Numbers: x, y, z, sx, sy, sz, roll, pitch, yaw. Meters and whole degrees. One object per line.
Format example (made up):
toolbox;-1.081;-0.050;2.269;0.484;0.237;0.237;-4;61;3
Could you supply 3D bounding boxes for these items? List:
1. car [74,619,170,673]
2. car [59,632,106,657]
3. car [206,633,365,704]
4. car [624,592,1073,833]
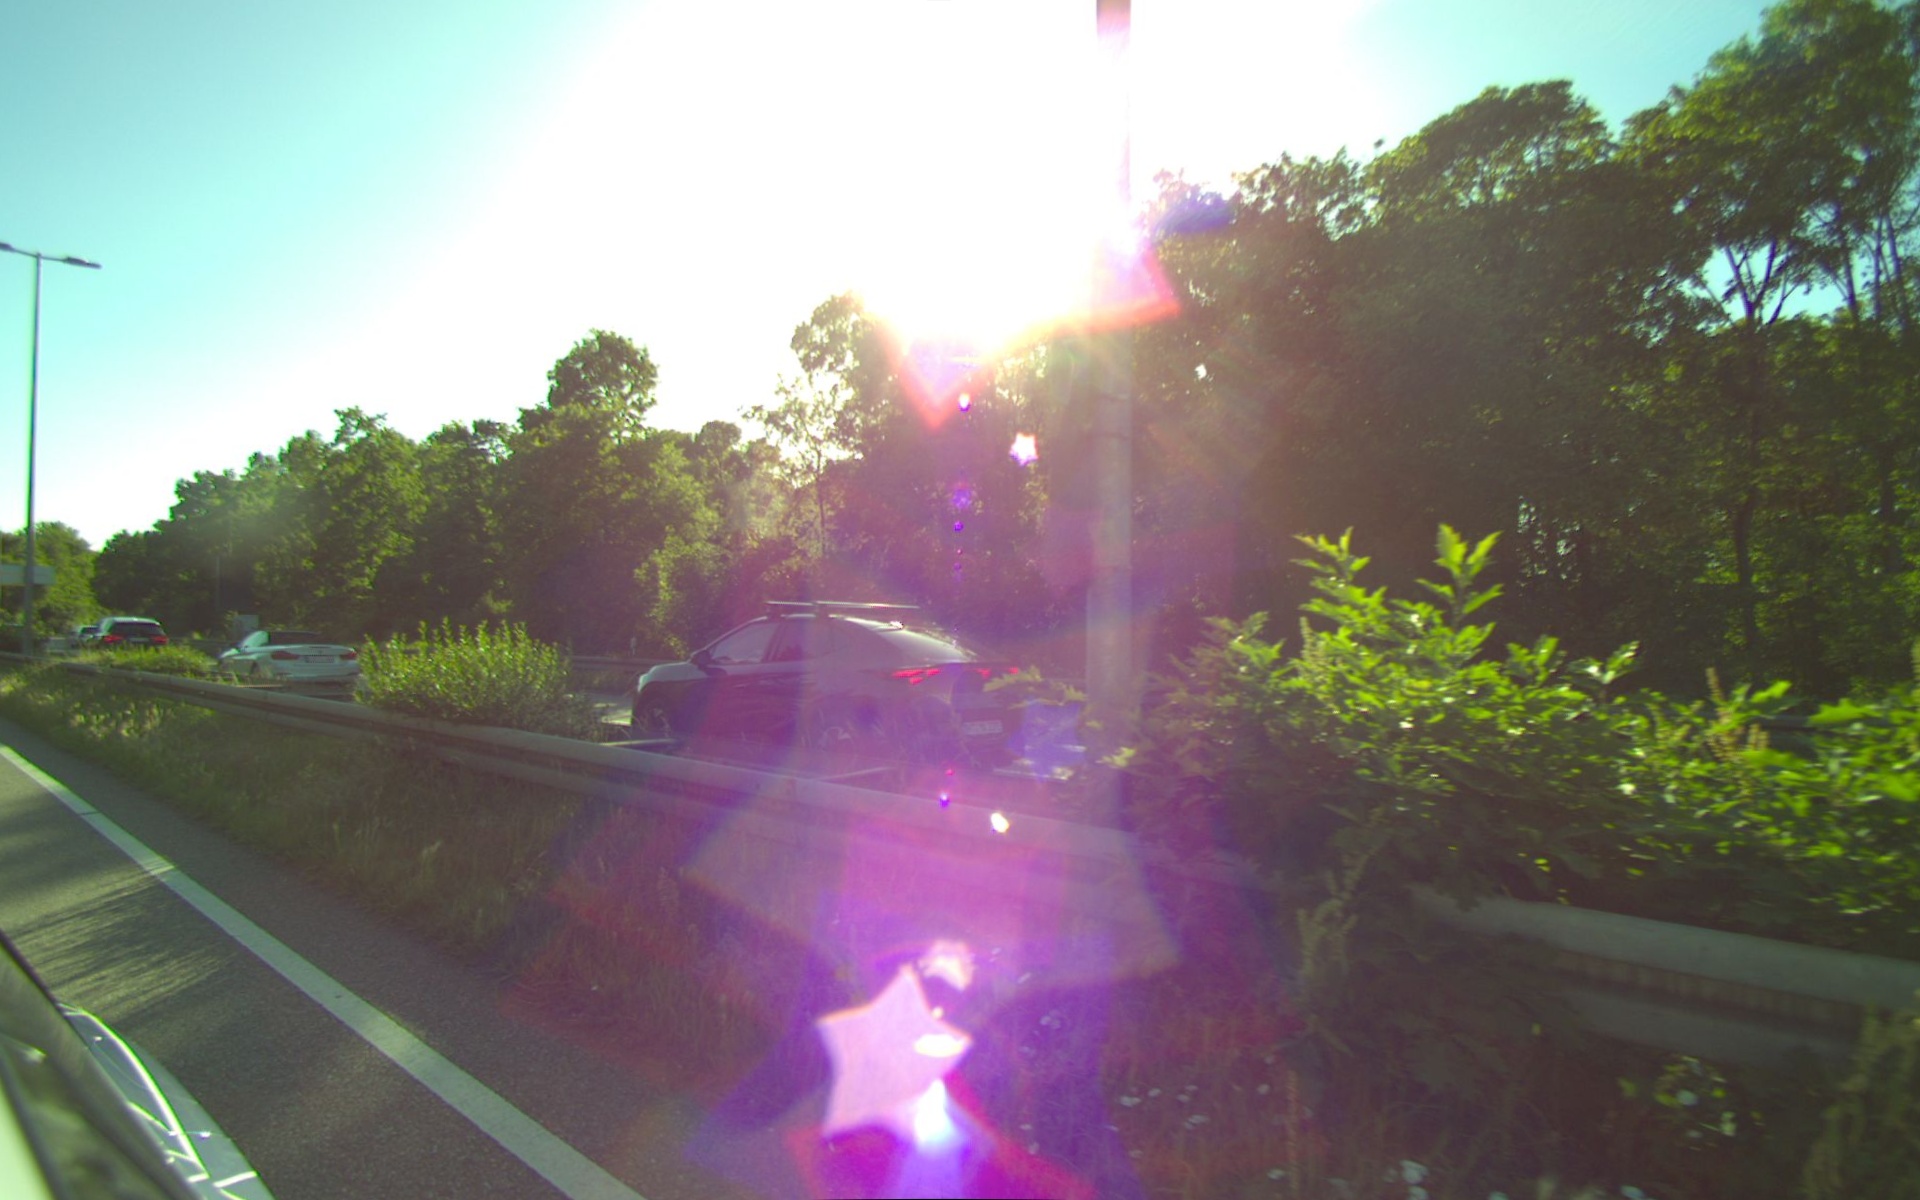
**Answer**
car;-28.498;1.552;34.384;4.545;1.723;1.766;-1;-3;41
car;-54.228;2.756;62.543;3.713;1.461;1.732;-2;-4;42
car;-14.678;1.404;21.927;4.460;1.367;1.754;-1;-2;41
car;-1.225;0.889;9.641;4.336;1.785;1.815;-2;-2;41
